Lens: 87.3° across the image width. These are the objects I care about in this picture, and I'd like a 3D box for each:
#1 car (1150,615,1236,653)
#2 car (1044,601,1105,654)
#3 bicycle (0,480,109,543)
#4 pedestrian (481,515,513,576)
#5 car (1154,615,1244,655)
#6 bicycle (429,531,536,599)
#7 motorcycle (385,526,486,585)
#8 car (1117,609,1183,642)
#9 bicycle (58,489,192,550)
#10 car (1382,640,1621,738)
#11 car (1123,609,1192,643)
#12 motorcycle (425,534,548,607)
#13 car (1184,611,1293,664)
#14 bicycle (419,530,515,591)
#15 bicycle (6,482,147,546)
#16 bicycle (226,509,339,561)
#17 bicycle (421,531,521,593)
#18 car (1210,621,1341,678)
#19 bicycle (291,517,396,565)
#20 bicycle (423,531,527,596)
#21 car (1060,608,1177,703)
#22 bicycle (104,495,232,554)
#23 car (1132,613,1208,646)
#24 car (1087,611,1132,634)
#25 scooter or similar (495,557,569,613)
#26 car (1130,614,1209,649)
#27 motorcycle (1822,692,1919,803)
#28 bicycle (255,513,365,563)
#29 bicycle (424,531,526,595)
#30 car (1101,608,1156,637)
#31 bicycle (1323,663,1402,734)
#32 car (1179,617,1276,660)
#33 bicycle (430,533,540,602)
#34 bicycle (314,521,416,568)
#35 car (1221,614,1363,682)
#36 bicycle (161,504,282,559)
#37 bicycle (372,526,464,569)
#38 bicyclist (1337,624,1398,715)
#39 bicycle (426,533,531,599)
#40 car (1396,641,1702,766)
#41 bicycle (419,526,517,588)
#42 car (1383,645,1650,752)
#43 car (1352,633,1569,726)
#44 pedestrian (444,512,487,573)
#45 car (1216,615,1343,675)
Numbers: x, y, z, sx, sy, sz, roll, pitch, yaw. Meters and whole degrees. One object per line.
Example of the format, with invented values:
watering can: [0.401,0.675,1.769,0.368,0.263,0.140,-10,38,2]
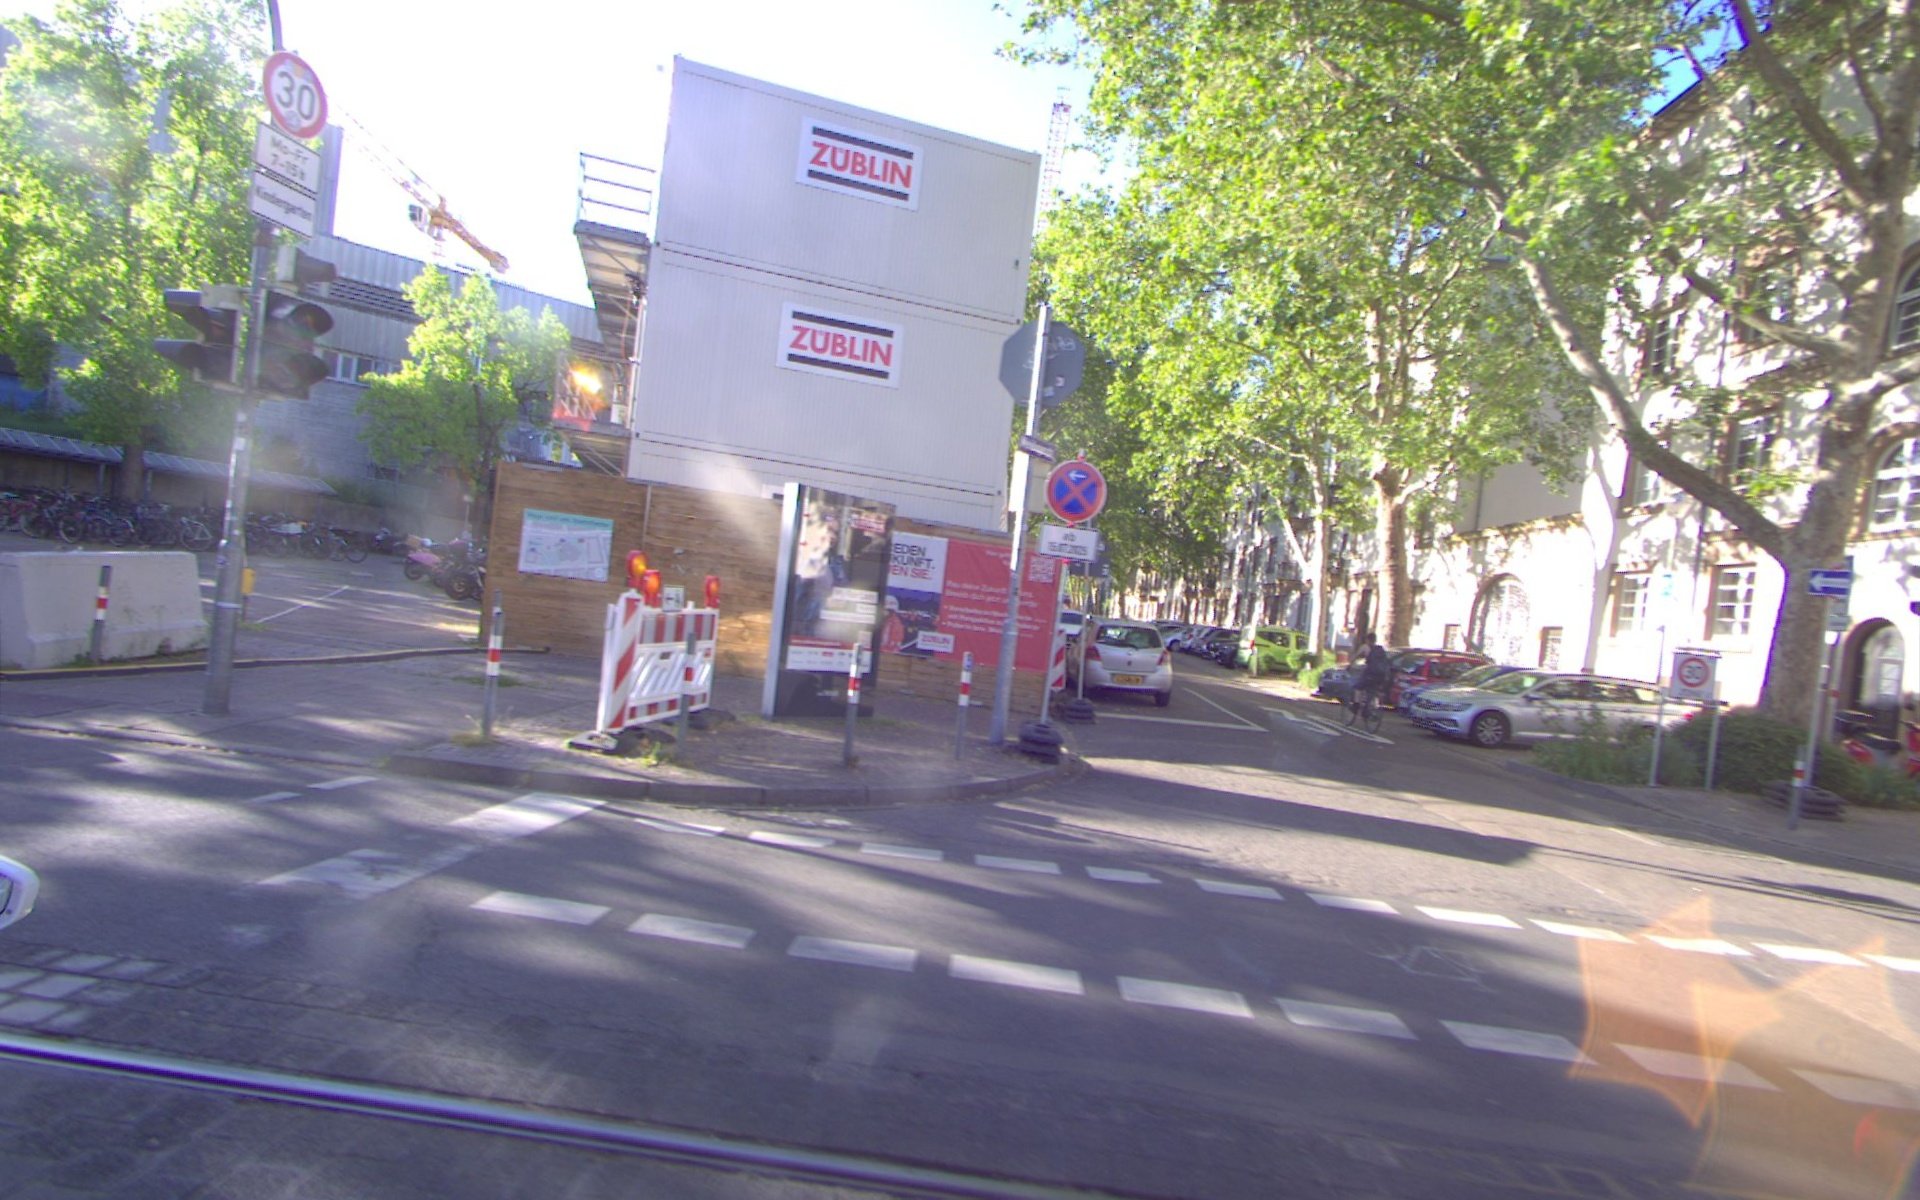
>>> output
car: [13.218,1.940,57.273,4.392,1.591,1.728,7,1,2]
car: [4.005,0.931,35.811,1.639,1.582,3.999,6,0,1]
bicycle: [-21.186,-2.076,23.059,3.030,1.162,0.821,7,2,12]
pedestrian: [-16.542,-1.947,35.991,0.792,2.040,1.025,6,2,-21]
car: [12.970,1.894,54.807,4.392,1.591,1.728,7,1,2]
bicycle: [-10.668,-0.771,22.498,2.030,1.274,0.467,6,2,-35]
motorcycle: [-13.539,-1.140,25.999,2.190,1.274,0.538,6,2,-35]
car: [14.008,1.849,74.426,4.392,1.922,1.728,7,1,2]
bicycle: [-20.910,-2.018,25.187,3.030,1.162,0.821,7,2,12]
car: [12.322,1.994,23.096,4.392,1.591,1.728,7,1,2]
car: [14.049,1.832,71.652,4.392,1.922,1.728,7,1,2]
motorcycle: [-9.924,-0.604,21.124,2.190,1.274,0.538,6,2,-35]
car: [12.788,1.704,46.431,4.392,1.859,1.728,7,1,1]
bicycle: [-12.401,-0.980,25.325,2.030,1.274,0.538,6,2,-35]
bicycle: [-21.113,-2.057,24.054,3.030,1.162,0.821,7,2,12]
bicycle: [-19.979,-1.914,29.667,3.030,1.162,0.821,7,2,12]
bicycle: [-11.795,-0.907,24.311,2.030,1.274,0.538,6,2,-35]
car: [12.092,1.871,38.752,4.392,1.591,1.728,7,1,2]
bicycle: [-19.475,-1.868,31.788,3.030,1.162,0.821,7,2,12]
bicycle: [-11.229,-0.840,23.324,2.030,1.274,0.467,6,2,-35]
car: [2.977,0.983,19.598,1.617,1.514,3.999,4,0,1]
bicycle: [-20.642,-1.971,26.231,3.030,1.162,0.821,7,2,12]
car: [13.412,1.883,64.357,4.392,1.591,1.728,7,1,2]
car: [15.846,2.396,106.804,4.392,1.922,1.728,7,1,2]
scooter or similar: [-8.623,-0.291,20.319,0.378,1.033,1.486,7,1,21]
car: [12.915,1.921,62.062,4.392,1.591,1.728,7,1,2]
motorcycle: [13.141,2.062,14.061,0.506,1.350,1.762,6,1,1]
bicycle: [-19.784,-1.878,30.624,3.030,1.162,0.821,7,2,12]
bicycle: [-11.466,-0.861,23.821,2.030,1.274,0.538,6,2,-35]
car: [14.572,1.951,87.232,4.392,1.922,1.728,7,1,2]
bicycle: [7.325,1.769,18.403,0.679,1.029,1.907,8,0,5]
car: [13.663,1.953,51.563,4.392,1.591,1.728,7,1,2]
bicycle: [-10.413,-0.705,22.095,2.030,1.274,0.467,6,2,-35]
bicycle: [-19.348,-1.798,32.718,3.030,1.162,0.821,7,2,12]
car: [11.901,1.701,36.275,4.392,1.859,1.728,7,1,1]
bicycle: [-20.393,-1.888,27.780,3.030,1.162,0.821,7,2,12]
bicycle: [-19.564,-1.897,36.289,3.030,1.162,0.821,7,2,12]
bicyclist: [7.387,1.248,18.266,0.666,1.532,0.668,8,1,4]
bicycle: [-10.950,-0.768,22.904,2.030,1.274,0.467,6,2,-35]
car: [10.604,1.827,18.352,4.392,1.591,1.728,7,1,2]
bicycle: [-12.114,-1.044,24.798,2.030,1.274,0.538,6,2,-35]
car: [11.375,1.981,20.774,4.392,1.519,1.728,7,1,2]
car: [12.424,1.939,25.179,4.392,1.692,1.728,7,1,2]
pedestrian: [-17.606,-2.046,35.851,0.788,2.040,0.938,7,2,13]
car: [12.825,1.792,40.525,4.392,1.859,1.728,7,1,1]
